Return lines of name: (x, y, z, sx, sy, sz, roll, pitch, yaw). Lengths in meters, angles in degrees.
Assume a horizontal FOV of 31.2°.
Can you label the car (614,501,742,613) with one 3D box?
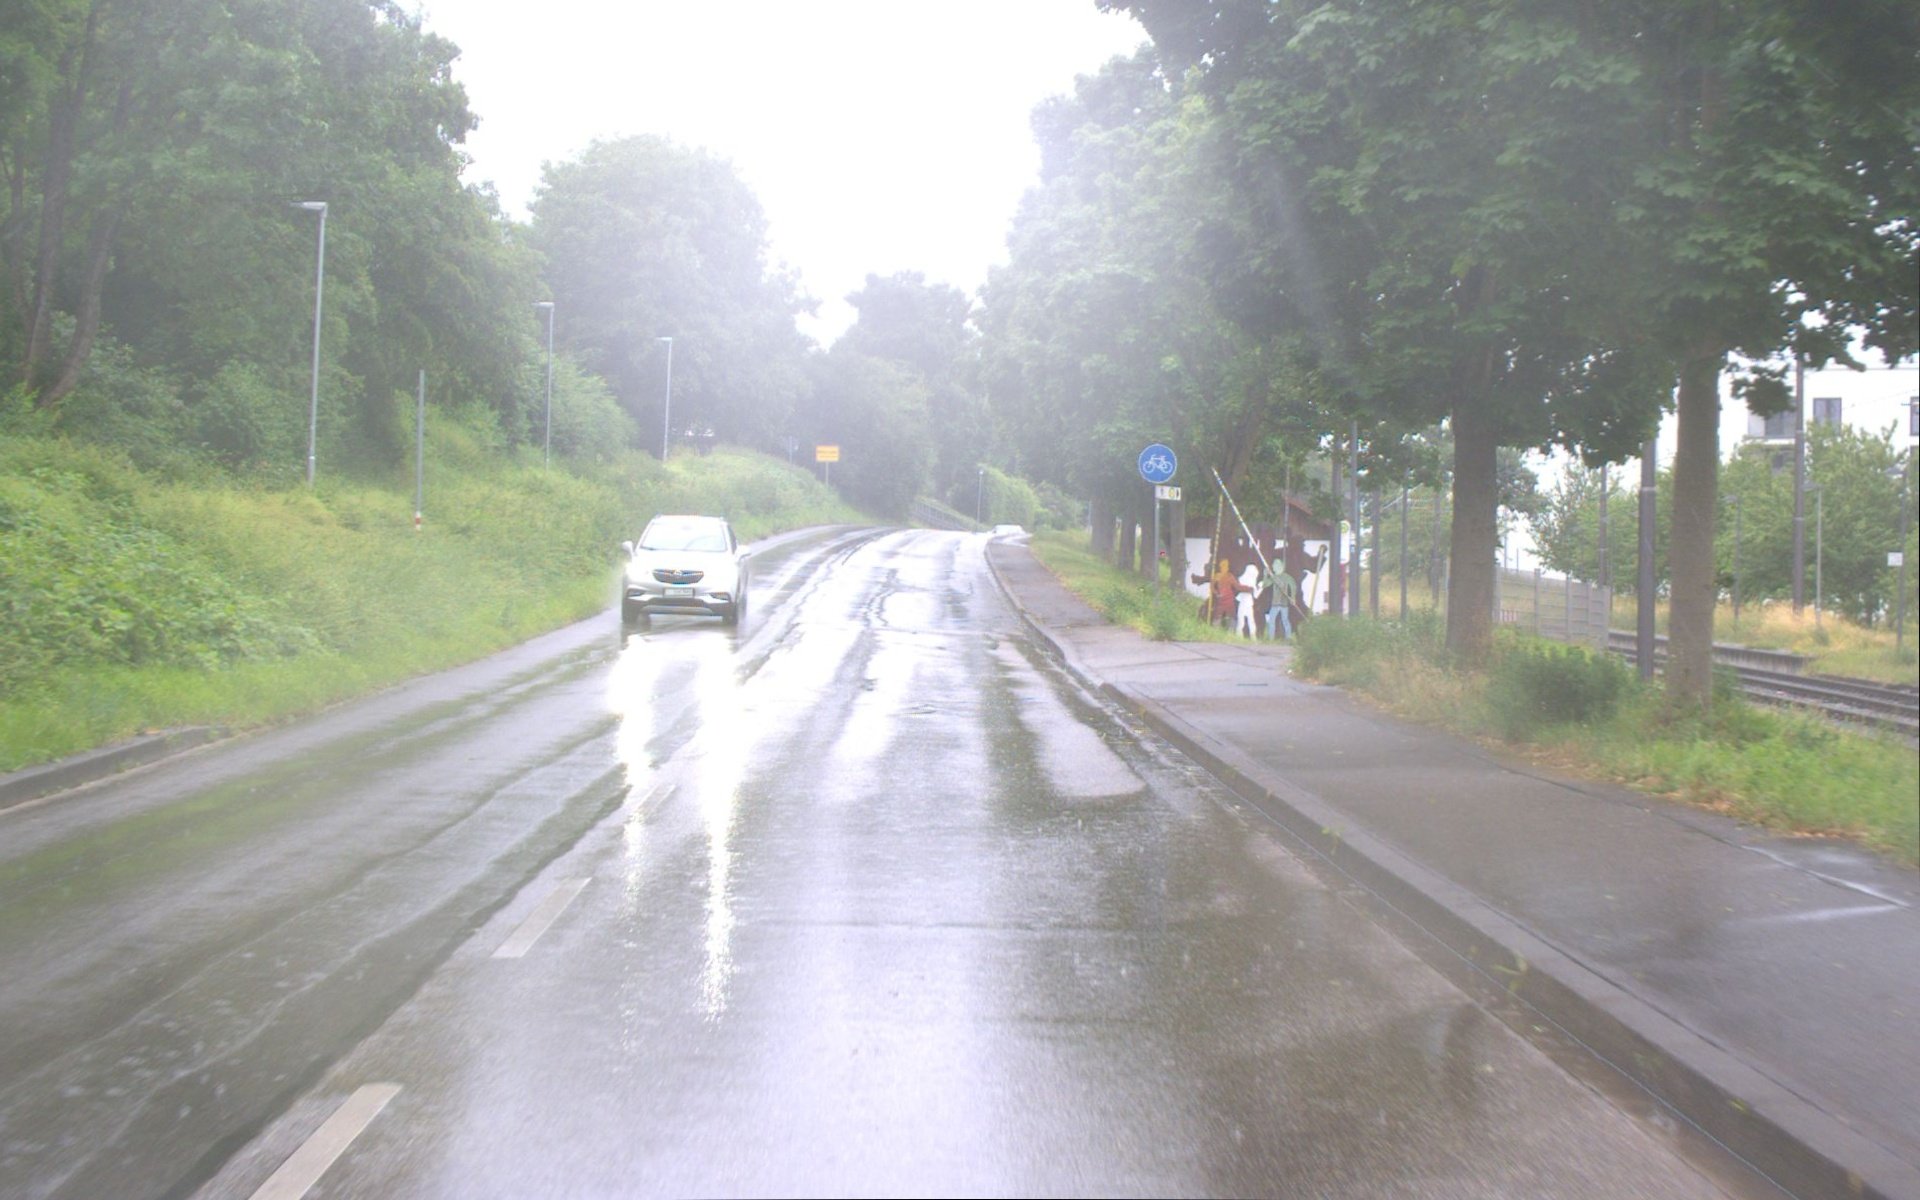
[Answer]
car: (-4.372, -0.706, 53.742, 1.744, 1.606, 4.088, 2, 2, -2)
